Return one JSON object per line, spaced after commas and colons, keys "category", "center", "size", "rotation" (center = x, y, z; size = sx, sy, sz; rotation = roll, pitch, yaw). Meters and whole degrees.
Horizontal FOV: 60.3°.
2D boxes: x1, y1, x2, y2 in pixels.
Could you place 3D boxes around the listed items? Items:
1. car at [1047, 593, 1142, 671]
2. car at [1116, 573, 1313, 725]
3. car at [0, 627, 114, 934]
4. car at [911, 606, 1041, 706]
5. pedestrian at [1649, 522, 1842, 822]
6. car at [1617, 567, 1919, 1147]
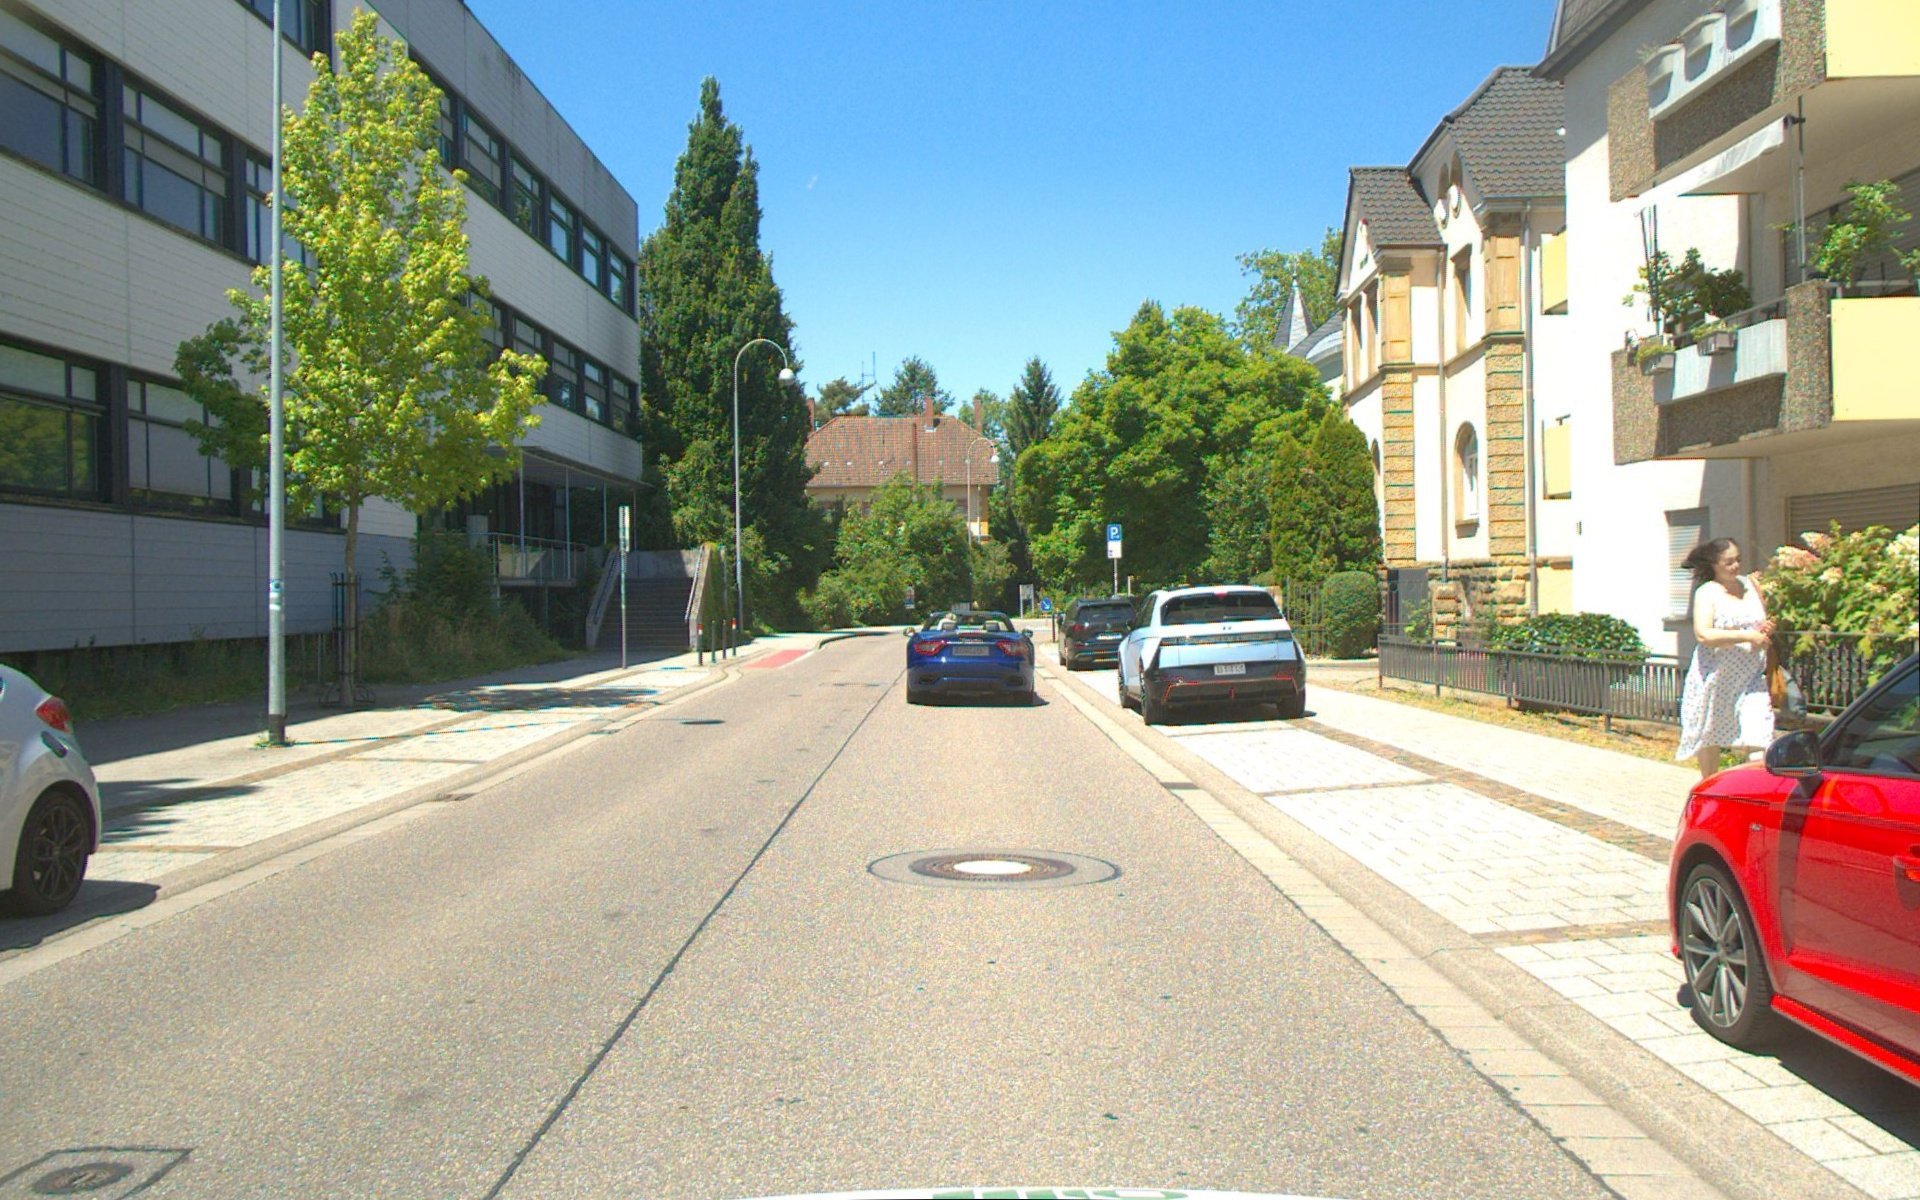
{"category": "car", "center": [2.842, 0.646, 35.680], "size": [1.598, 1.471, 4.397], "rotation": [-4, 0, 0]}
{"category": "car", "center": [3.120, 0.558, 21.122], "size": [1.806, 1.647, 4.427], "rotation": [-3, 0, 0]}
{"category": "car", "center": [-5.415, 0.869, 6.873], "size": [1.712, 1.434, 3.933], "rotation": [0, 0, 1]}
{"category": "car", "center": [0.222, 0.788, 25.329], "size": [1.789, 1.360, 4.700], "rotation": [1, 0, 0]}
{"category": "pedestrian", "center": [4.728, 0.418, 9.996], "size": [0.725, 1.698, 0.705], "rotation": [-4, 0, -2]}
{"category": "car", "center": [3.235, 0.639, 4.212], "size": [1.570, 1.466, 3.853], "rotation": [-4, 0, 1]}
